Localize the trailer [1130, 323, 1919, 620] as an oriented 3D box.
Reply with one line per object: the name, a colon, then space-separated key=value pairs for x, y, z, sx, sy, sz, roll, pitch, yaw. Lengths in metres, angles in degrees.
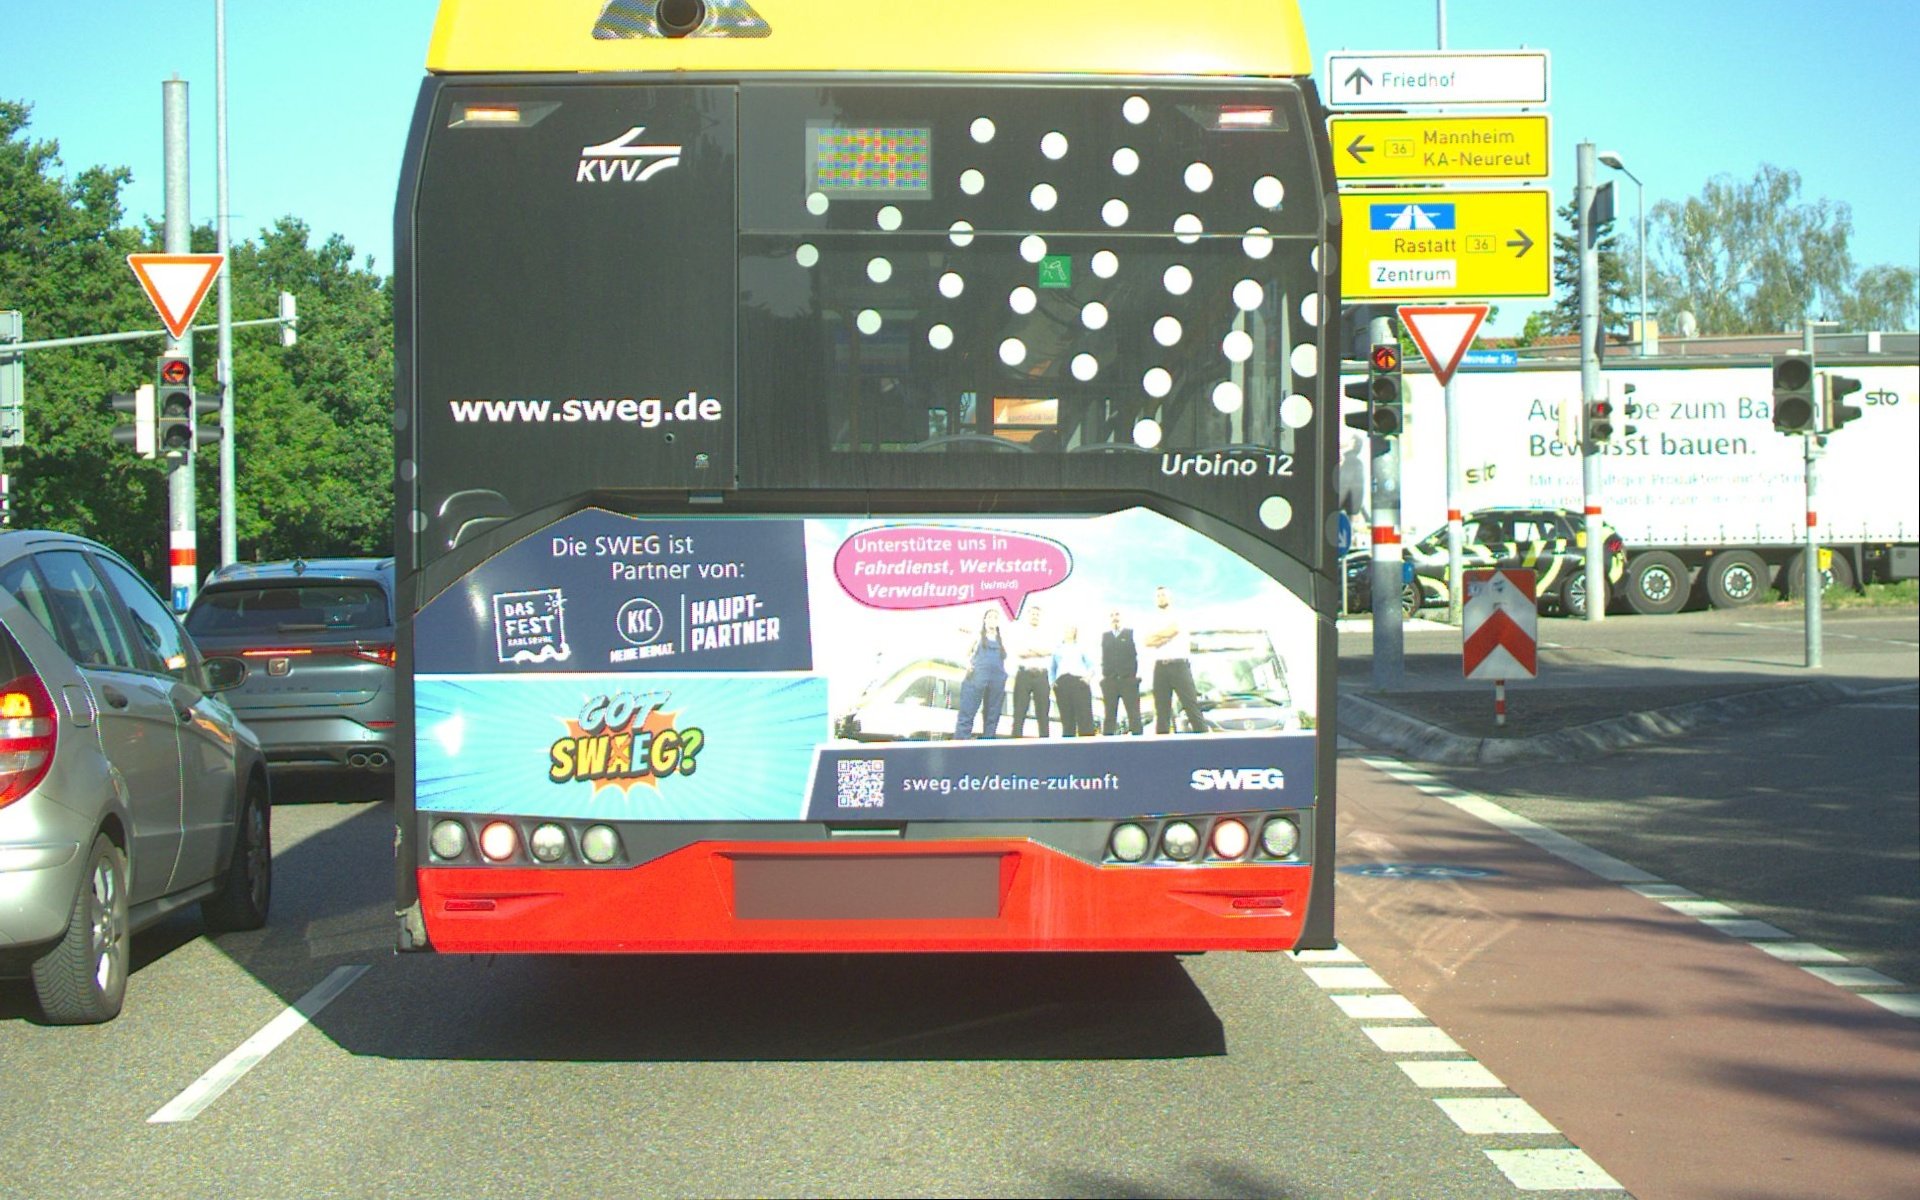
trailer: x=10.319 y=-2.090 z=54.550 sx=14.653 sy=3.999 sz=3.441 roll=-3 pitch=1 yaw=-8

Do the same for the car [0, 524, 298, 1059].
car: x=-3.607 y=0.561 z=12.193 sx=1.761 sy=1.584 sz=4.000 roll=-2 pitch=1 yaw=-1

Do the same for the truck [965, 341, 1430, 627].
truck: x=3.619 y=-1.790 z=53.650 sx=6.474 sy=3.999 sz=3.441 roll=-3 pitch=1 yaw=-8

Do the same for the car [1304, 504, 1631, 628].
car: x=6.943 y=-0.477 z=47.229 sx=4.066 sy=1.521 sz=1.769 roll=-2 pitch=1 yaw=-8

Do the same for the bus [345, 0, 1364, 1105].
bus: x=-0.295 y=-0.401 z=14.891 sx=2.642 sy=3.156 sz=11.861 roll=0 pitch=1 yaw=0

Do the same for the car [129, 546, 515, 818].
car: x=-3.814 y=0.431 z=21.125 sx=1.692 sy=1.453 sz=3.751 roll=-2 pitch=1 yaw=-1
